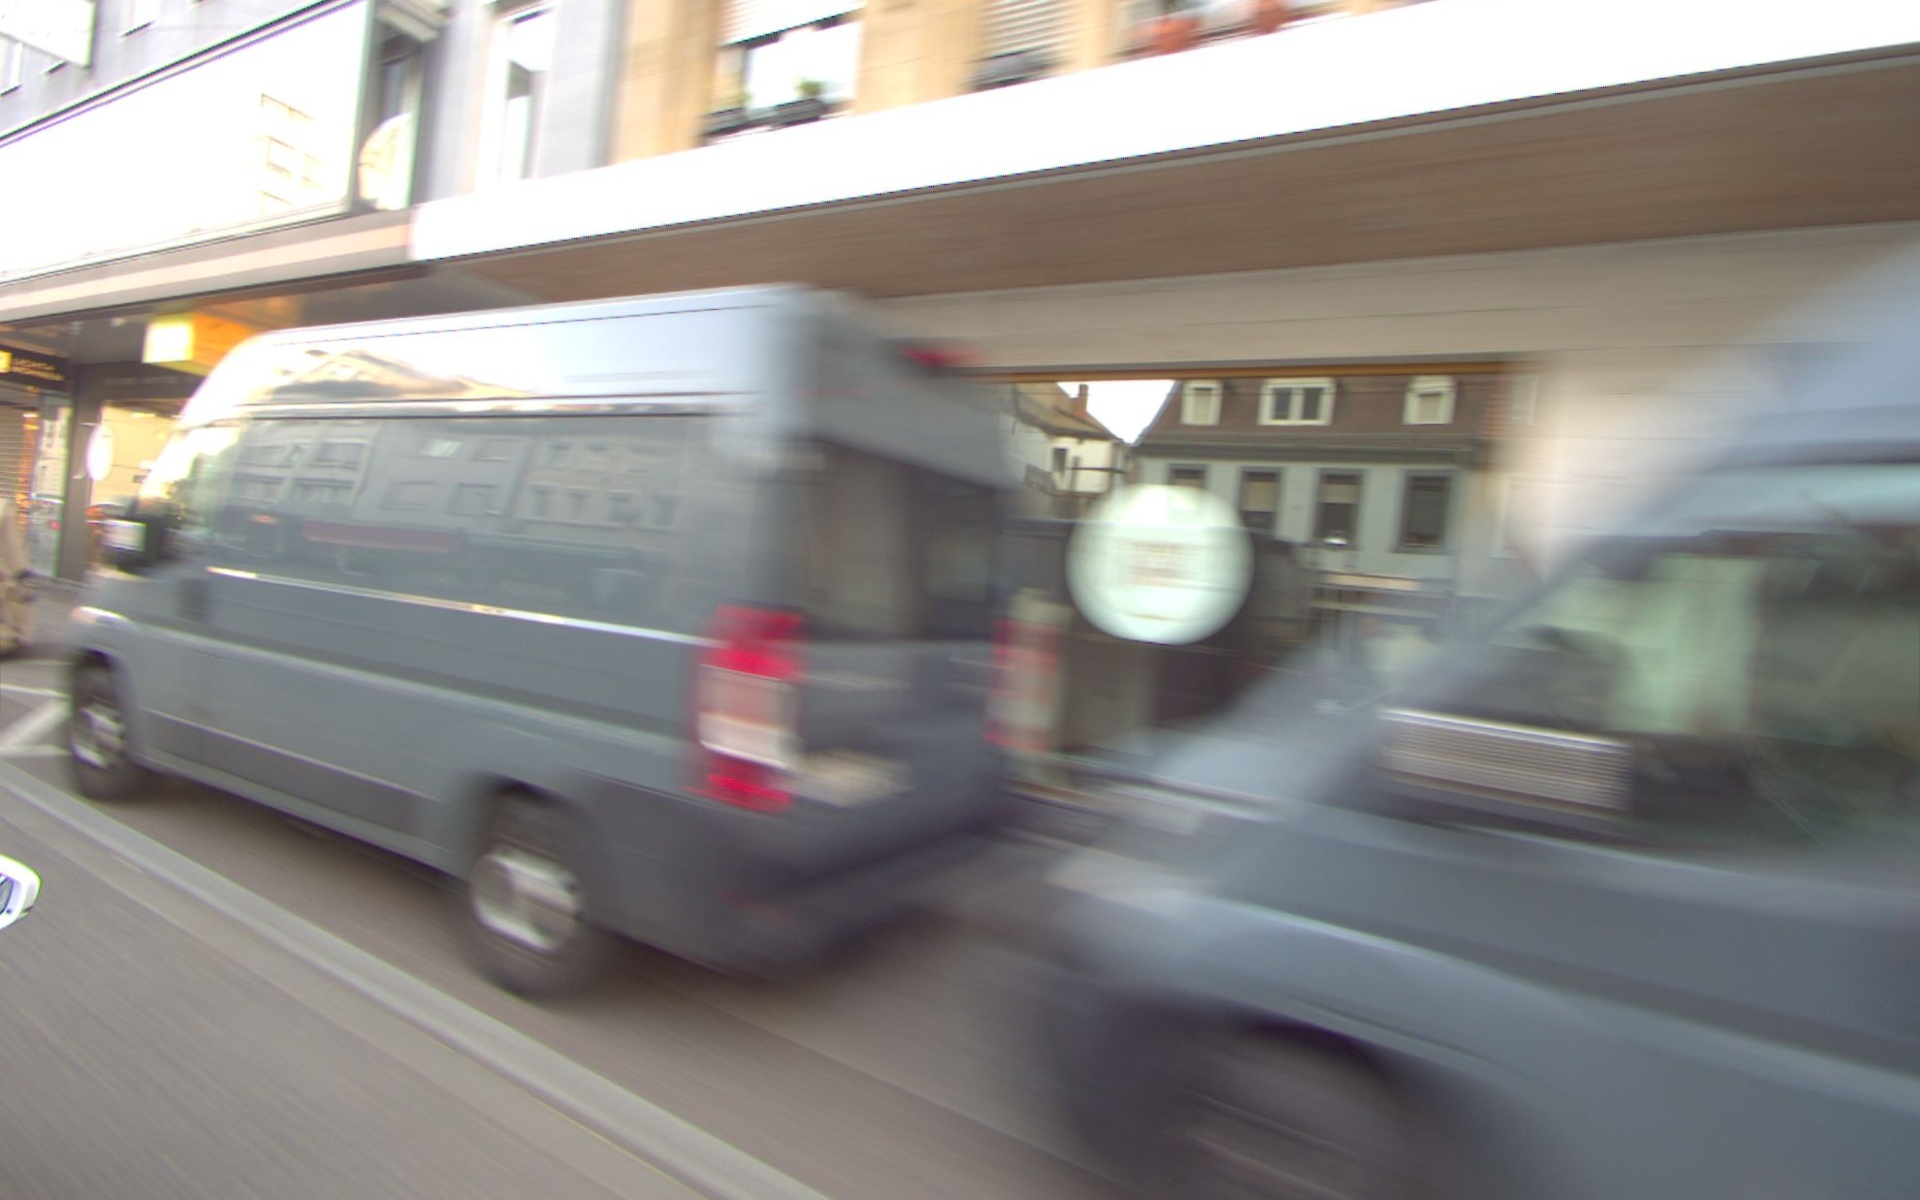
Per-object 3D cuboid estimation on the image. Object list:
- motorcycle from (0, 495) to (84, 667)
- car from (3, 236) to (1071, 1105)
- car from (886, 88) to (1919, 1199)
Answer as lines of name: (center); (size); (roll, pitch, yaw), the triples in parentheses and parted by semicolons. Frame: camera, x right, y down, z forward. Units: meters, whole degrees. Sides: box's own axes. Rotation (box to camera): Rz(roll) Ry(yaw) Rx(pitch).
motorcycle: (-8.957, -0.243, 9.161); (2.129, 1.438, 0.844); (6, 3, 32)
car: (-2.401, -0.002, 5.078); (5.317, 2.487, 2.035); (7, 2, 30)
car: (2.987, 0.626, 1.820); (5.931, 2.487, 2.094); (7, 1, 31)
